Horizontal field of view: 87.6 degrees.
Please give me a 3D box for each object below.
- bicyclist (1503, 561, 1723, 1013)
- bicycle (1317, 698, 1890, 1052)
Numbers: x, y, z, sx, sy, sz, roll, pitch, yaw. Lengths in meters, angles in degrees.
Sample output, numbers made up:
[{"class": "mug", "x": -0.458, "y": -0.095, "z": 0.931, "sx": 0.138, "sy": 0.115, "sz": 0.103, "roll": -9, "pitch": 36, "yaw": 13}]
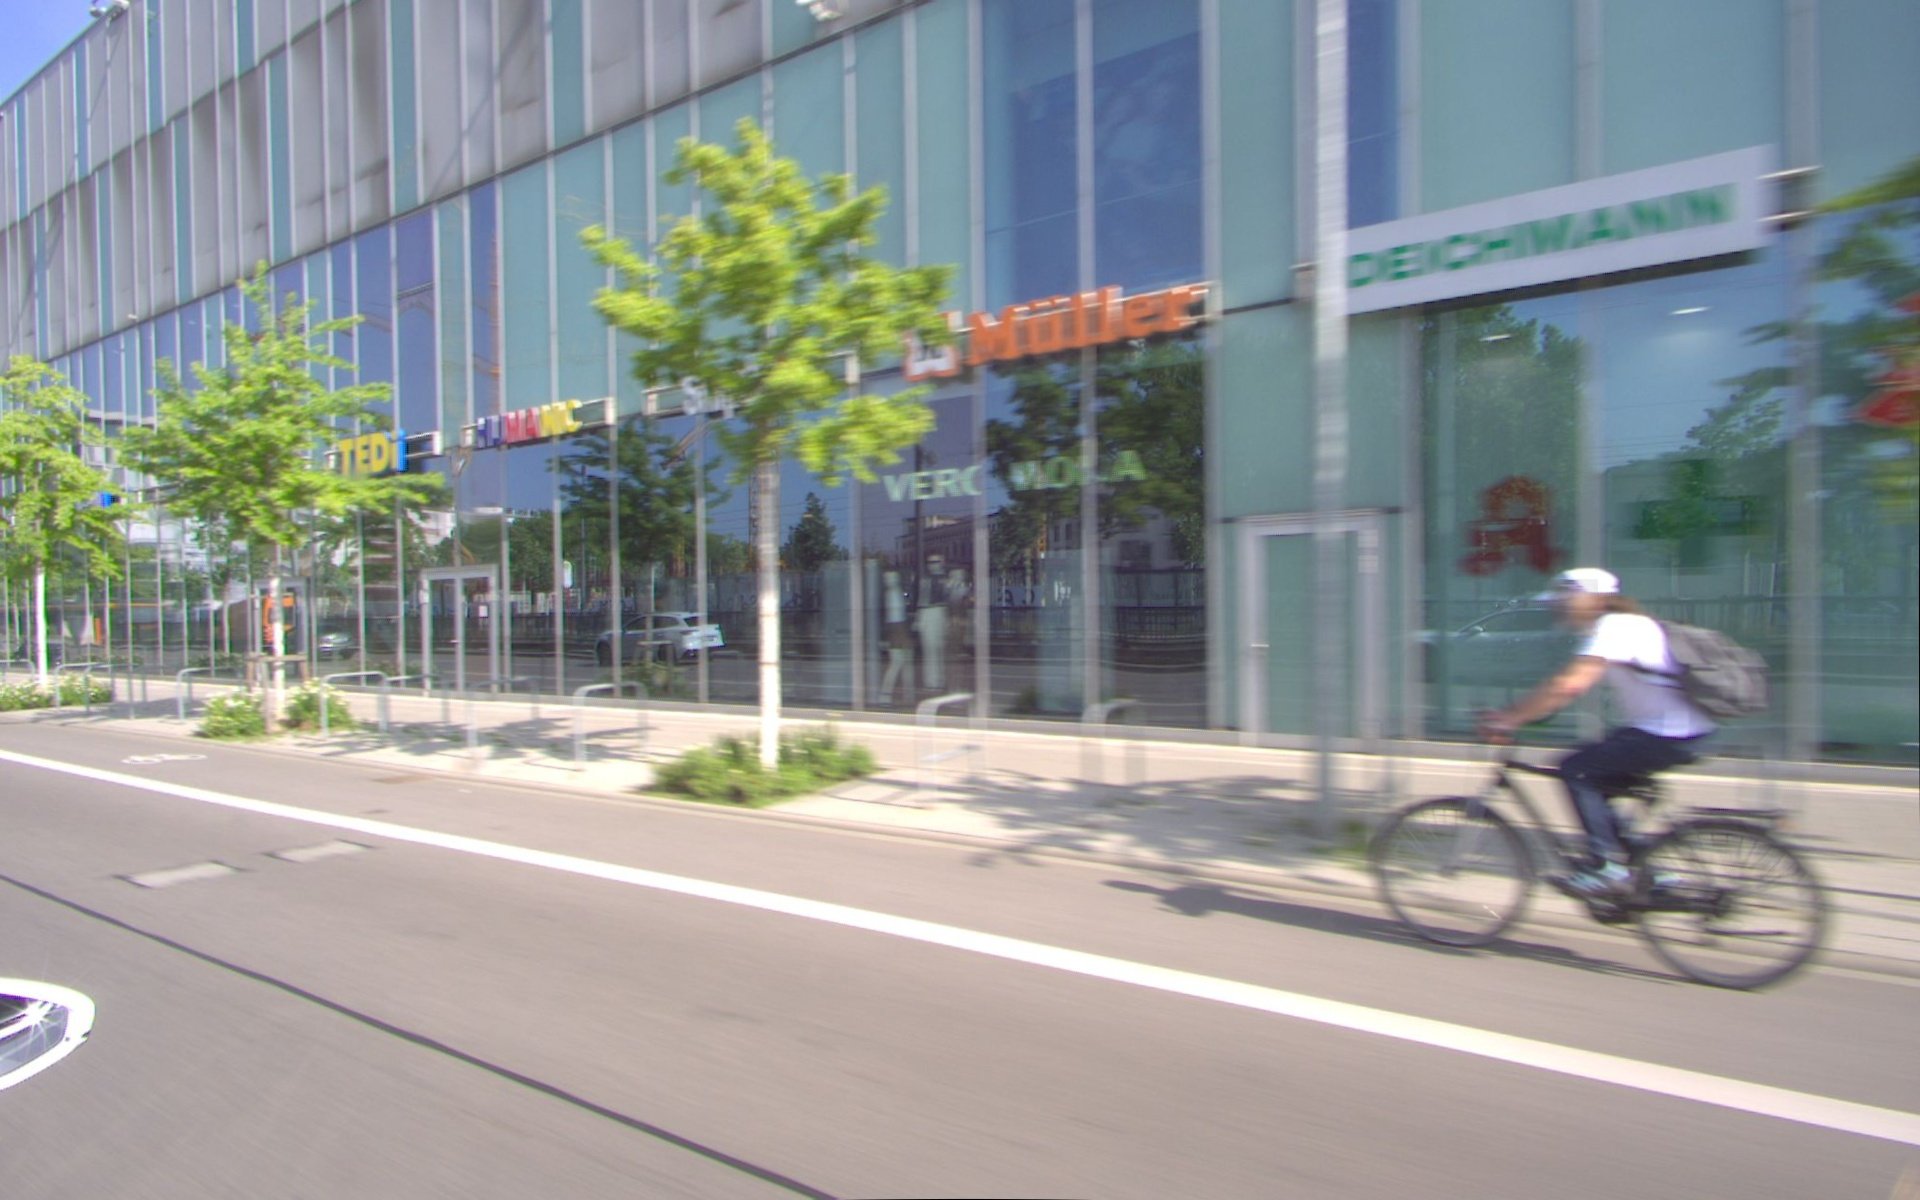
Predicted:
[{"class": "bicyclist", "x": 2.859, "y": 0.737, "z": 4.408, "sx": 0.759, "sy": 1.772, "sz": 0.649, "roll": 0, "pitch": 0, "yaw": 35}, {"class": "bicycle", "x": 2.715, "y": 1.076, "z": 4.468, "sx": 2.023, "sy": 1.132, "sz": 0.659, "roll": 0, "pitch": 0, "yaw": 36}]
